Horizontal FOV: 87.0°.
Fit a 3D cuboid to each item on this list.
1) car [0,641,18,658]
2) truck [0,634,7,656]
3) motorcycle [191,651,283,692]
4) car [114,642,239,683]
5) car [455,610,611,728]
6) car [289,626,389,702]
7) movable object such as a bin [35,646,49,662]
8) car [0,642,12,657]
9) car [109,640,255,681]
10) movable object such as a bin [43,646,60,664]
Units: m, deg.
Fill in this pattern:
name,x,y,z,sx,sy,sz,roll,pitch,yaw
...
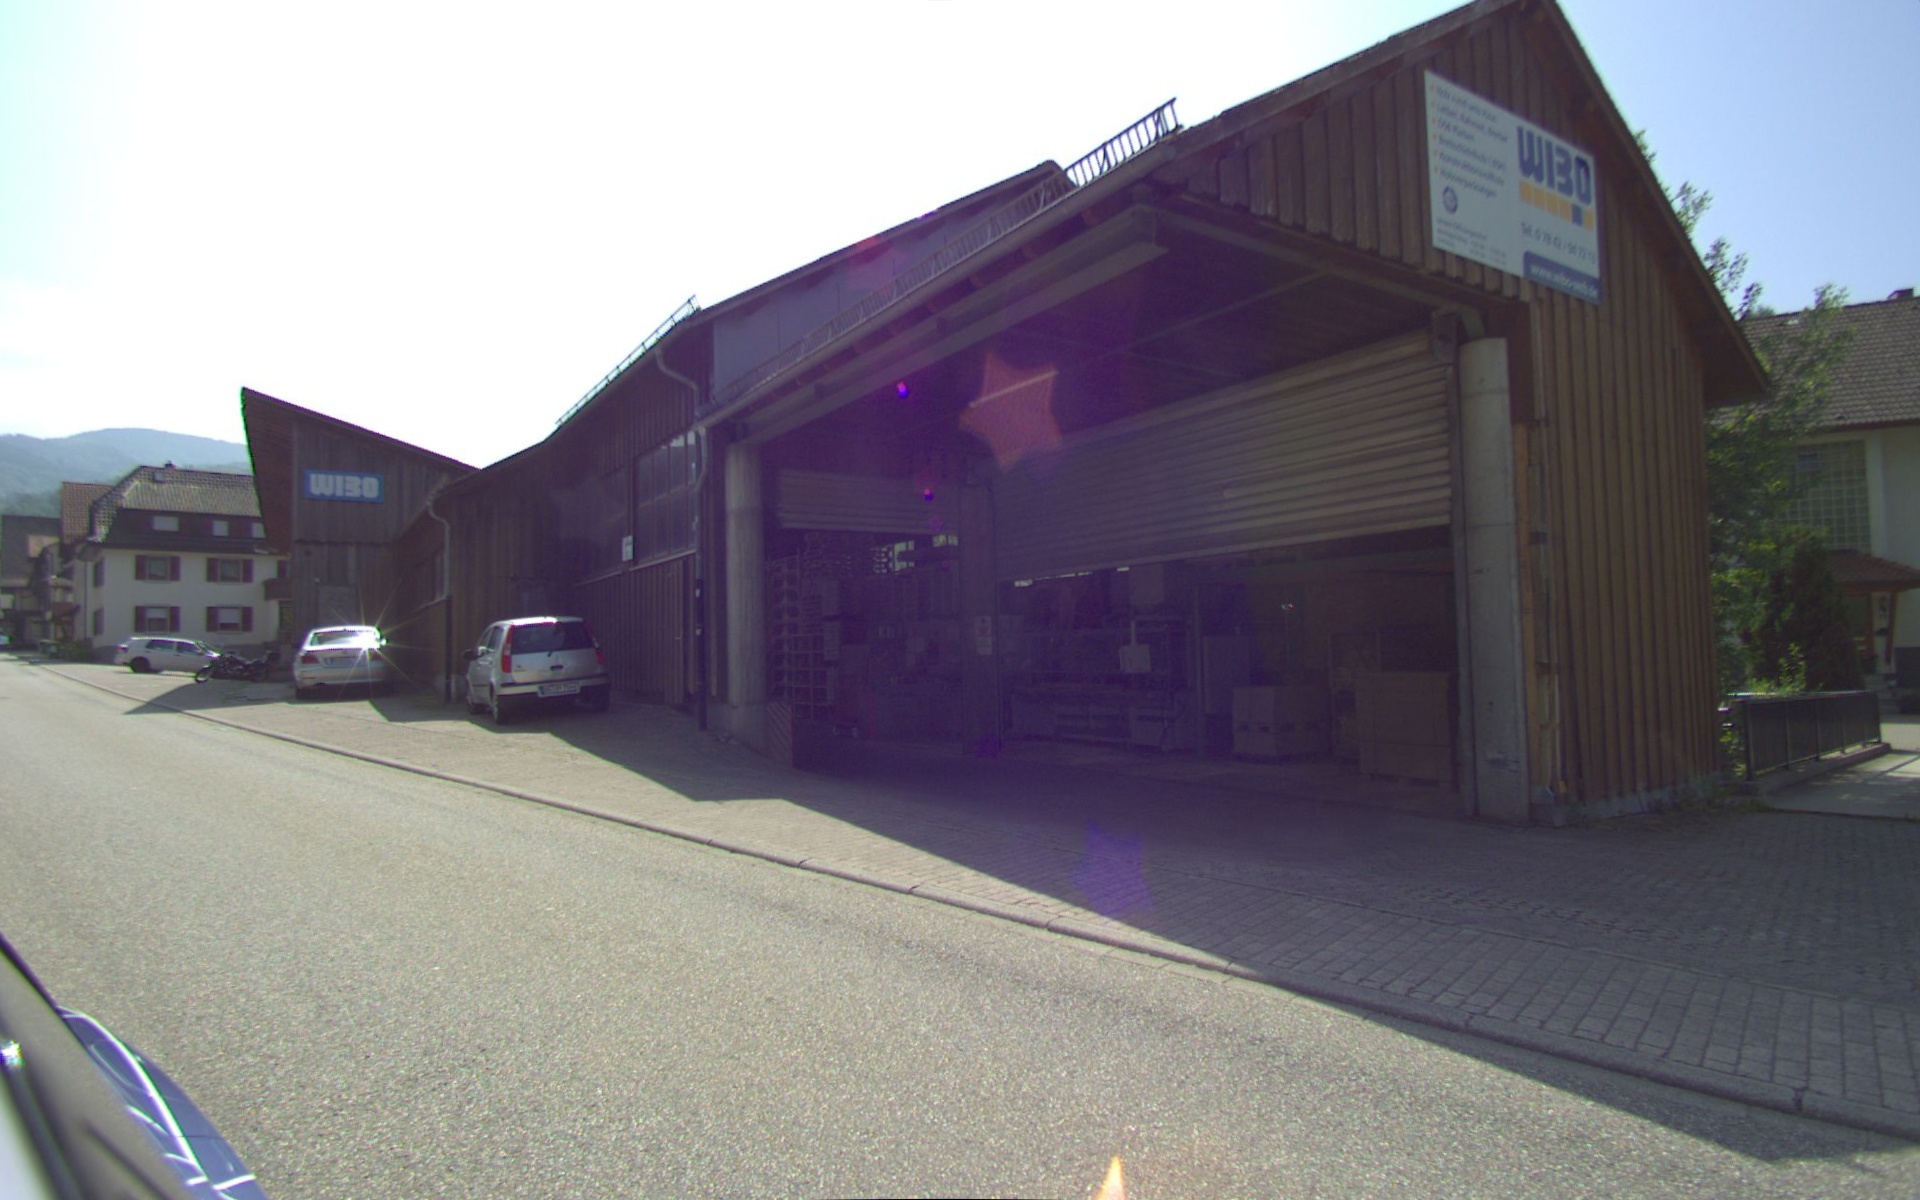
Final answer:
name,x,y,z,sx,sy,sz,roll,pitch,yaw
car,-93.324,4.807,98.701,4.285,1.565,1.751,-3,-2,43
truck,-103.090,4.802,106.328,1.998,2.283,4.124,-2,-2,39
motorcycle,-23.441,2.300,32.859,2.376,1.274,0.745,2,-3,-35
car,-31.055,2.480,40.232,3.608,1.396,1.716,5,-5,-29
car,-7.013,1.050,16.378,1.559,1.582,4.034,-3,0,-33
car,-13.688,1.385,22.393,1.705,1.465,4.818,0,-3,-31
movable object such as a bin,-69.119,4.036,76.202,0.709,1.190,0.598,4,-5,-44
car,-99.371,5.079,103.052,1.754,1.514,4.049,-3,-3,43
car,-32.609,2.577,42.573,4.367,1.486,1.930,4,-5,-19
movable object such as a bin,-55.348,3.349,61.649,0.621,1.075,0.668,-2,-3,43
